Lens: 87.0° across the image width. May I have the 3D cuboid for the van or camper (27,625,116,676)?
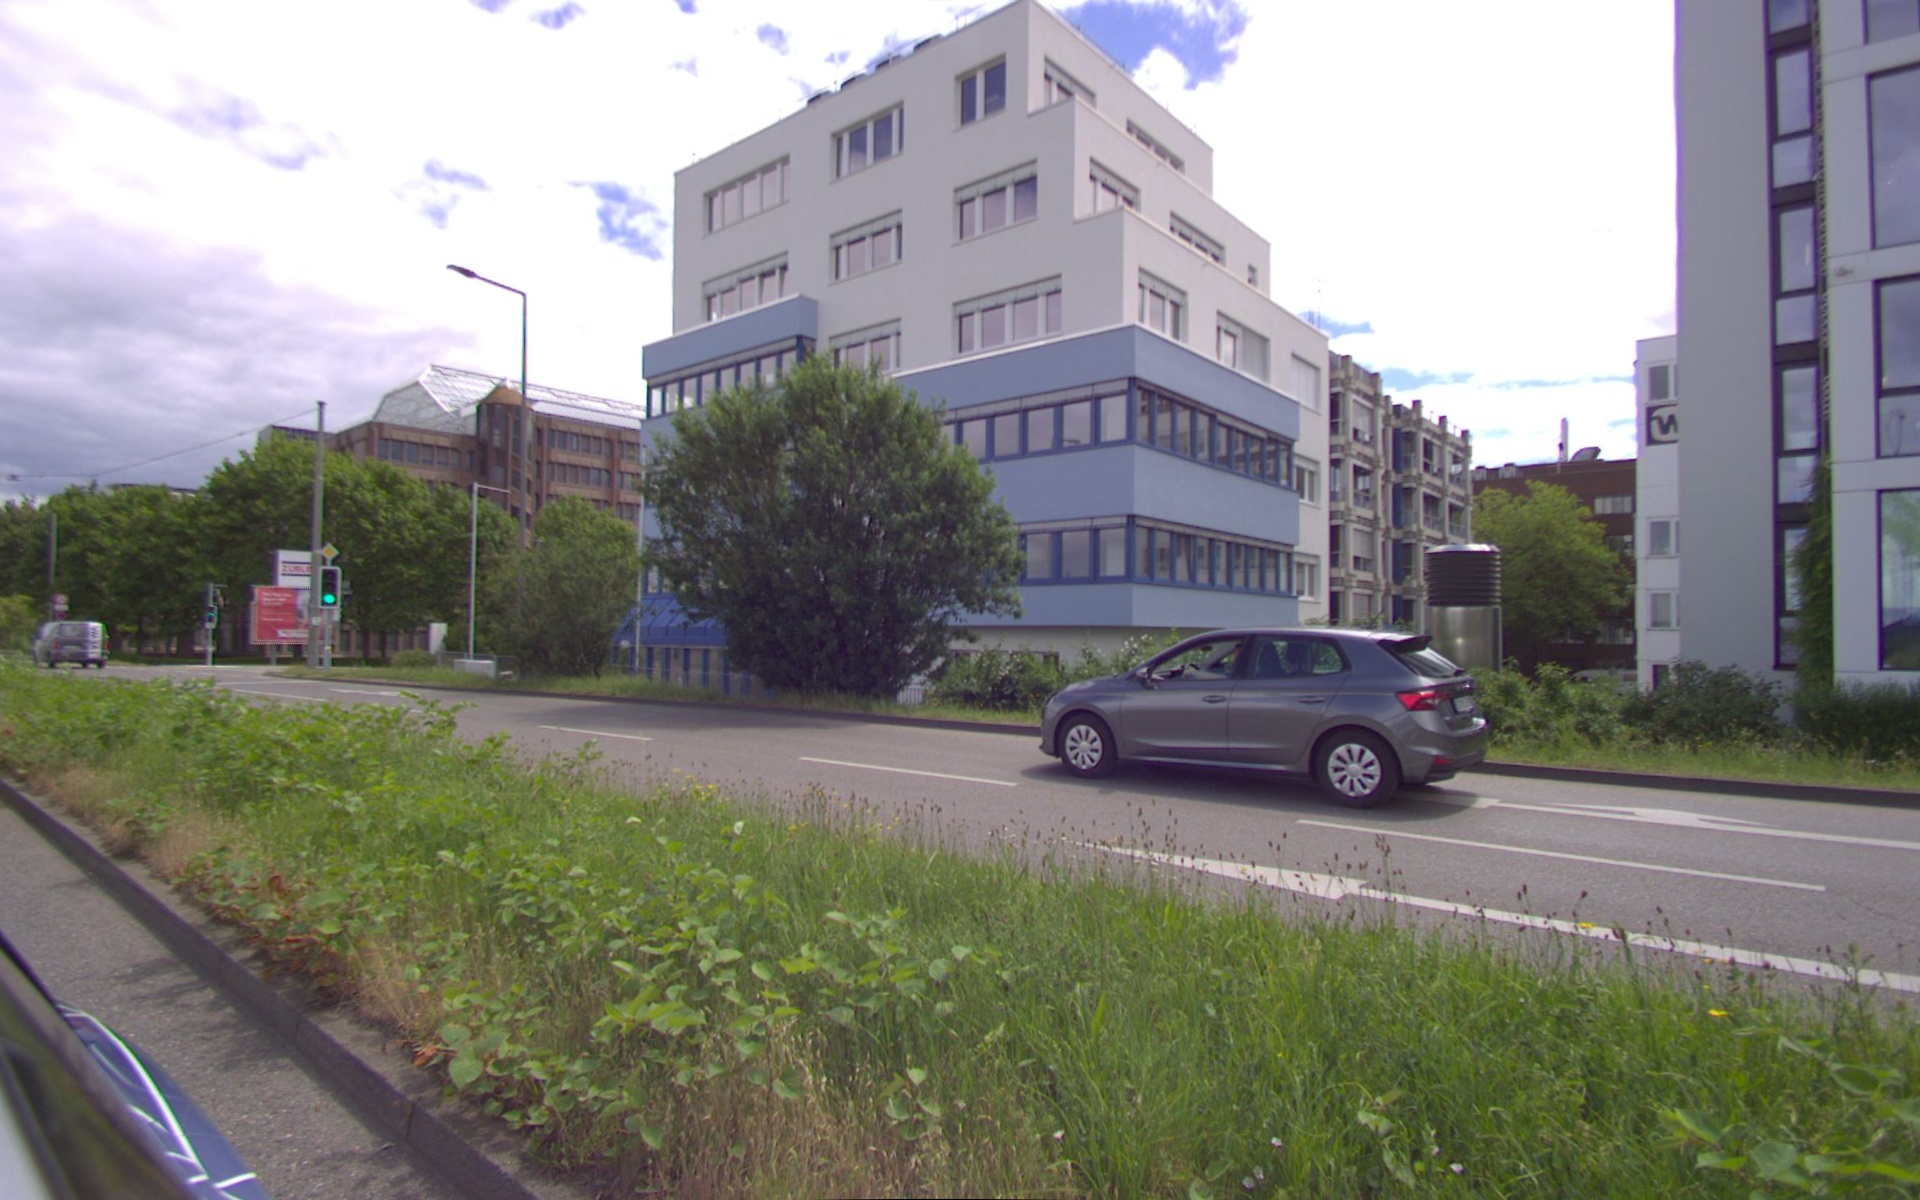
[{"bbox_3d":[-37.976,2.113,43.220,4.809,2.029,1.974,-1,-2,38],"label":"van or camper"}]

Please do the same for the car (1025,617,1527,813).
[{"bbox_3d":[2.768,0.891,9.351,3.998,1.409,1.912,-2,-2,41],"label":"car"}]
